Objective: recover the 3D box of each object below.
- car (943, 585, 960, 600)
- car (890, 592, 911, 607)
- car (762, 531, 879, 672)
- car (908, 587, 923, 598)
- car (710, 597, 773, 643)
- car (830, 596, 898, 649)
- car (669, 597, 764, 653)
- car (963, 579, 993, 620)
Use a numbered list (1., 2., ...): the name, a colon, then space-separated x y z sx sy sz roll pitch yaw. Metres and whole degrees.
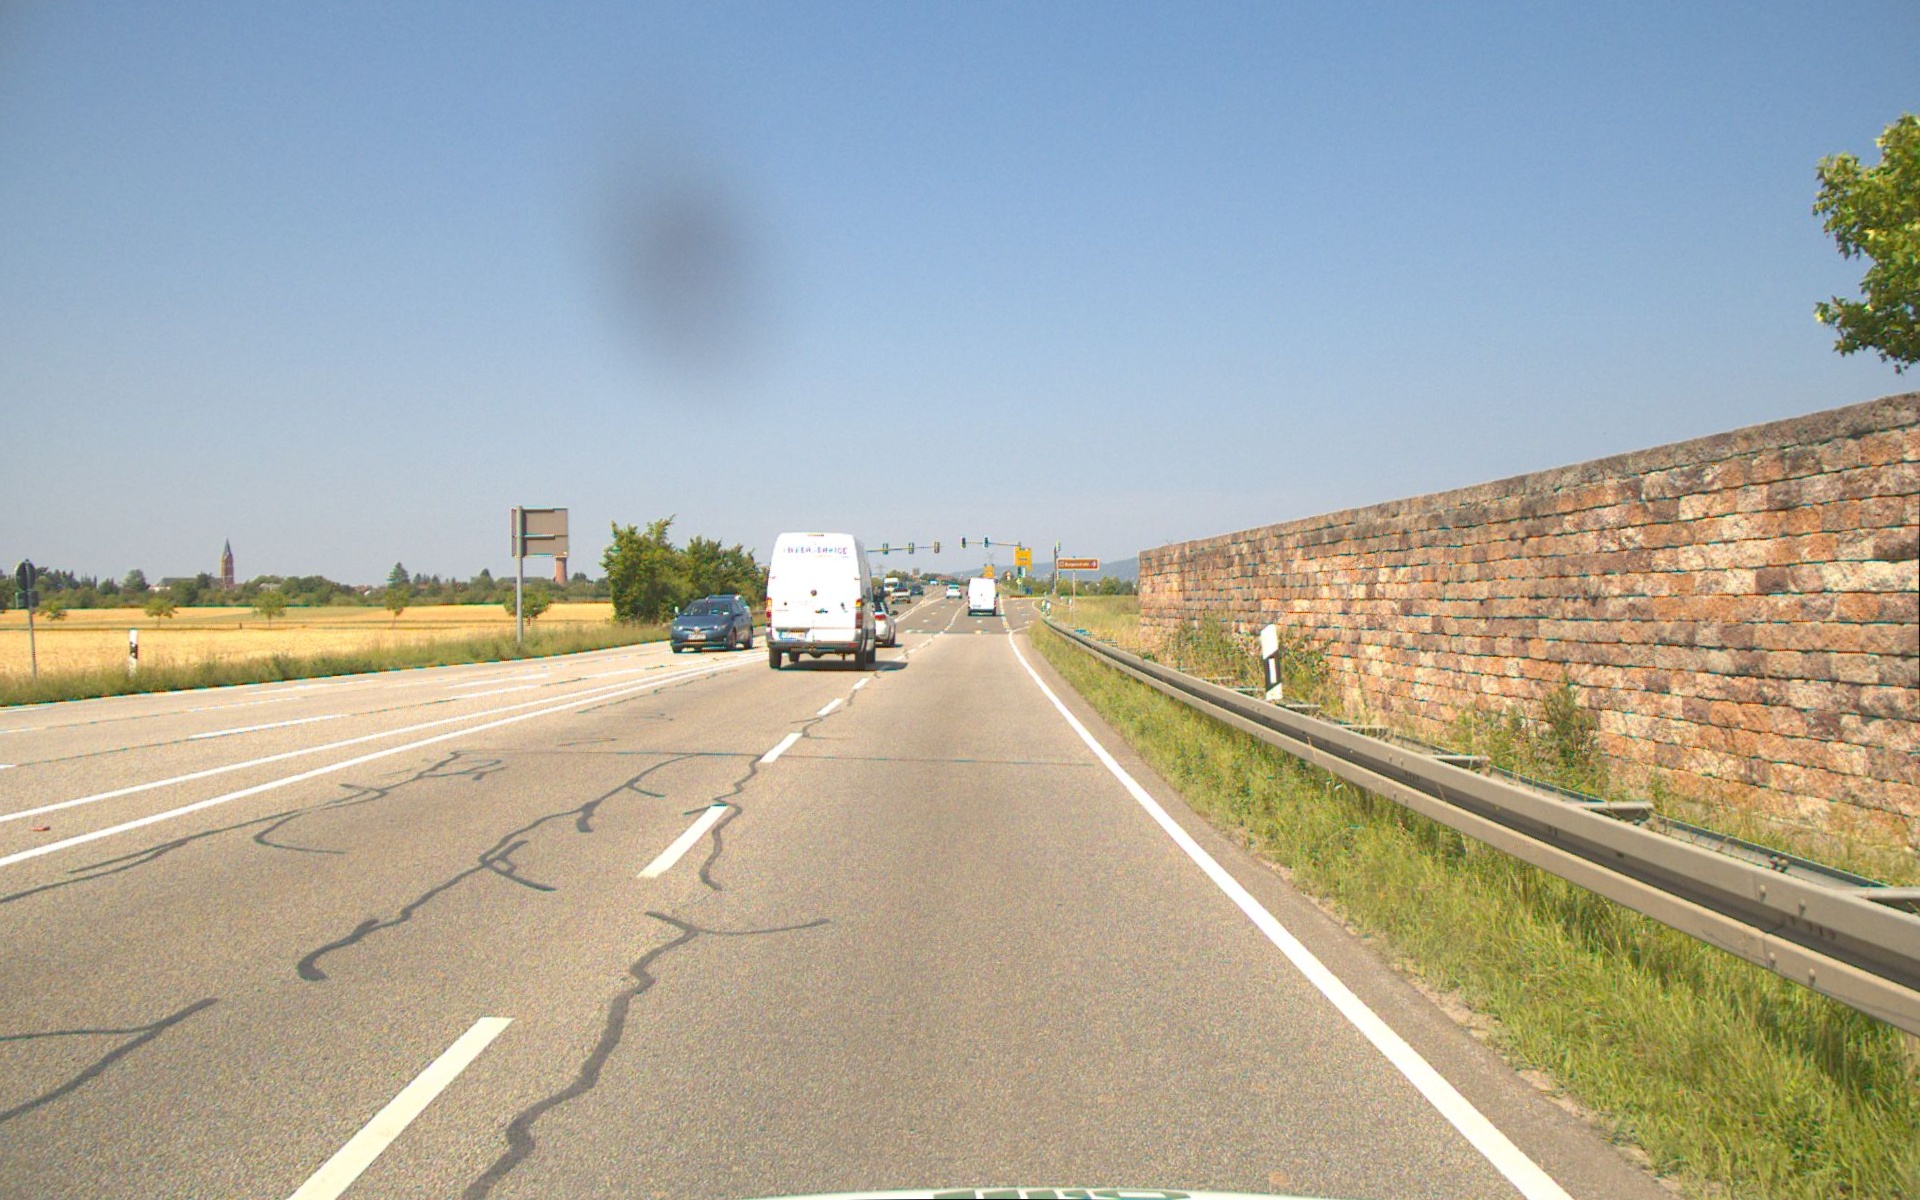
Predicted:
1. car: -0.994 -0.893 196.735 1.952 1.733 4.275 1 -1 1
2. car: -6.107 -0.056 171.038 1.819 1.448 4.001 -1 0 2
3. car: -2.813 0.052 34.653 1.998 2.666 5.739 1 -1 -1
4. car: -6.159 -0.995 229.356 1.818 1.448 4.001 1 -1 2
5. car: -8.673 0.761 65.906 1.630 1.706 4.465 -2 0 3
6. car: -2.885 0.638 50.208 1.762 1.534 4.196 0 0 1
7. car: -6.872 0.677 47.017 1.722 1.483 4.233 -1 0 5
8. car: 1.264 -0.037 114.182 1.952 2.742 4.970 -1 0 1
